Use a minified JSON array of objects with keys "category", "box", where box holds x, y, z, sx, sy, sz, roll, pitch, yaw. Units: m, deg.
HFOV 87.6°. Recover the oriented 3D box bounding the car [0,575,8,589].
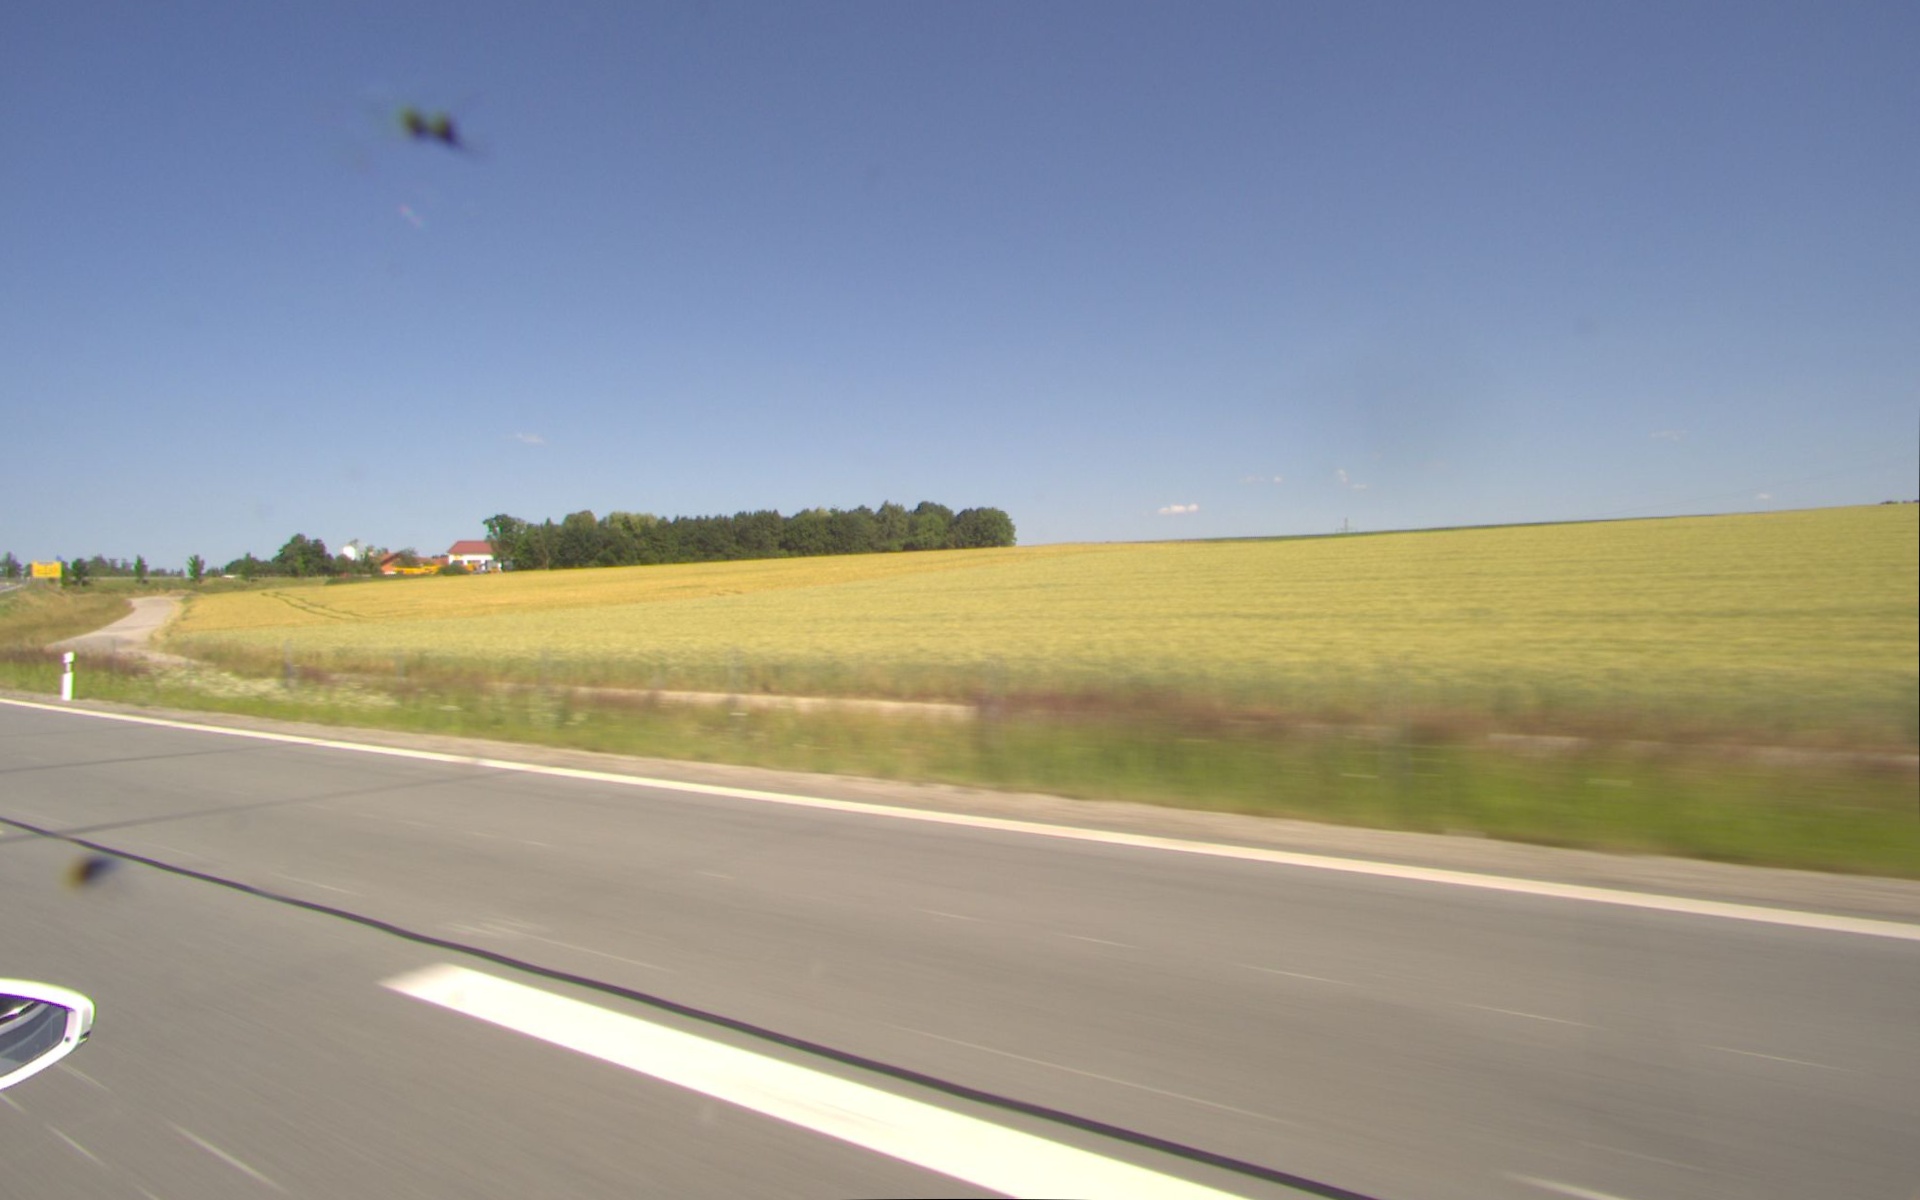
[{"category":"car","box":[-148.692,-2.740,154.795,1.978,2.041,3.965,-2,1,-40]}]
